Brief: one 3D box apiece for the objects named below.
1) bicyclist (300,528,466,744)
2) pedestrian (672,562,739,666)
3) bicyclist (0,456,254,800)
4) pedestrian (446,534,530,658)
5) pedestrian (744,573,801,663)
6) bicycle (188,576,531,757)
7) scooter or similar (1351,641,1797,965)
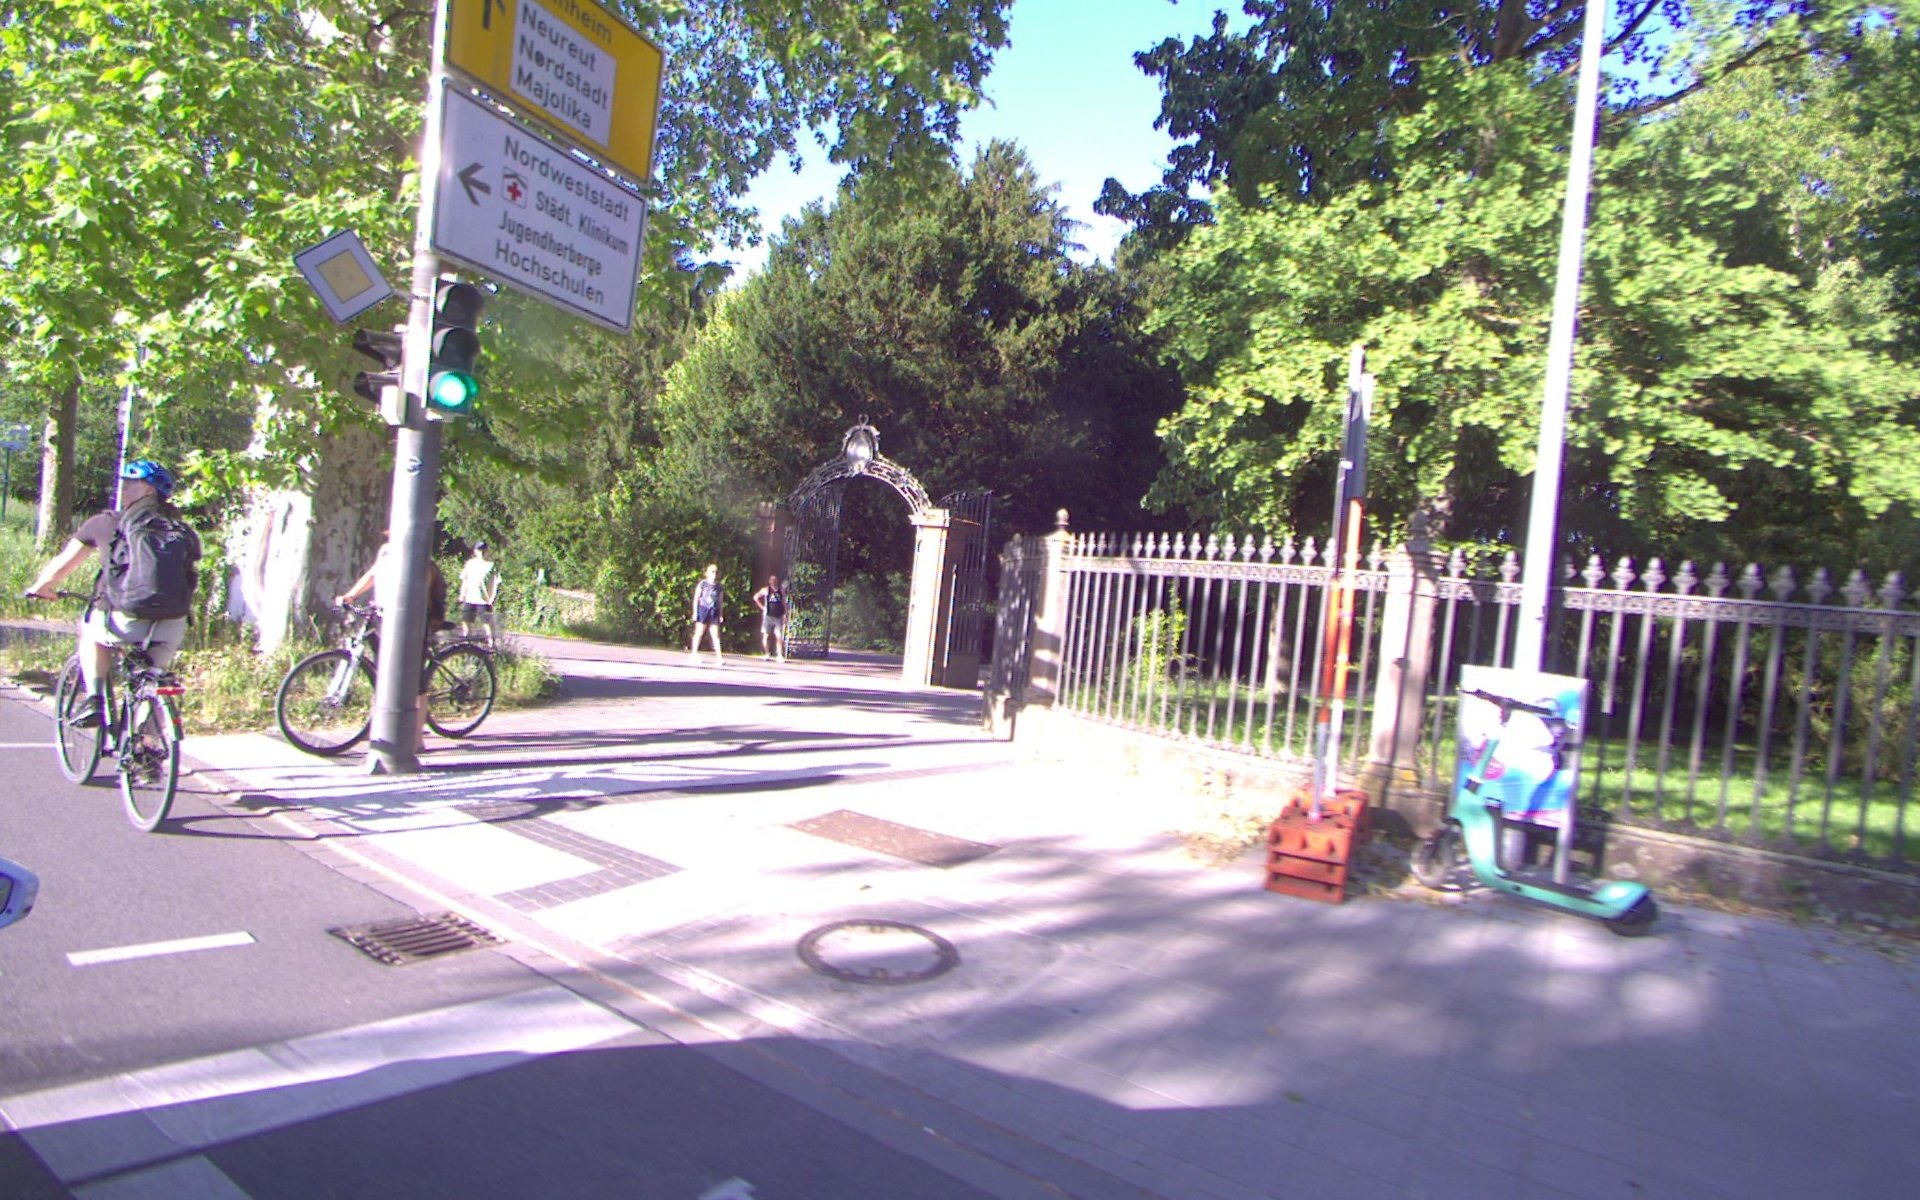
[{"bbox_3d":[-4.252,0.258,7.419,0.685,1.466,0.763,7,1,39],"label":"bicyclist"},{"bbox_3d":[-4.297,0.239,16.985,0.671,1.654,0.688,7,1,41],"label":"pedestrian"},{"bbox_3d":[-4.188,0.115,5.007,0.877,1.520,0.694,7,1,29],"label":"bicyclist"},{"bbox_3d":[-6.350,-0.050,13.539,0.671,1.565,0.688,7,1,41],"label":"pedestrian"},{"bbox_3d":[-3.829,0.365,20.557,0.671,1.731,0.689,7,-1,41],"label":"pedestrian"},{"bbox_3d":[-4.308,0.486,7.373,0.685,1.109,1.983,7,0,39],"label":"bicycle"},{"bbox_3d":[3.196,0.970,5.423,1.806,1.273,0.791,6,5,32],"label":"scooter or similar"}]
